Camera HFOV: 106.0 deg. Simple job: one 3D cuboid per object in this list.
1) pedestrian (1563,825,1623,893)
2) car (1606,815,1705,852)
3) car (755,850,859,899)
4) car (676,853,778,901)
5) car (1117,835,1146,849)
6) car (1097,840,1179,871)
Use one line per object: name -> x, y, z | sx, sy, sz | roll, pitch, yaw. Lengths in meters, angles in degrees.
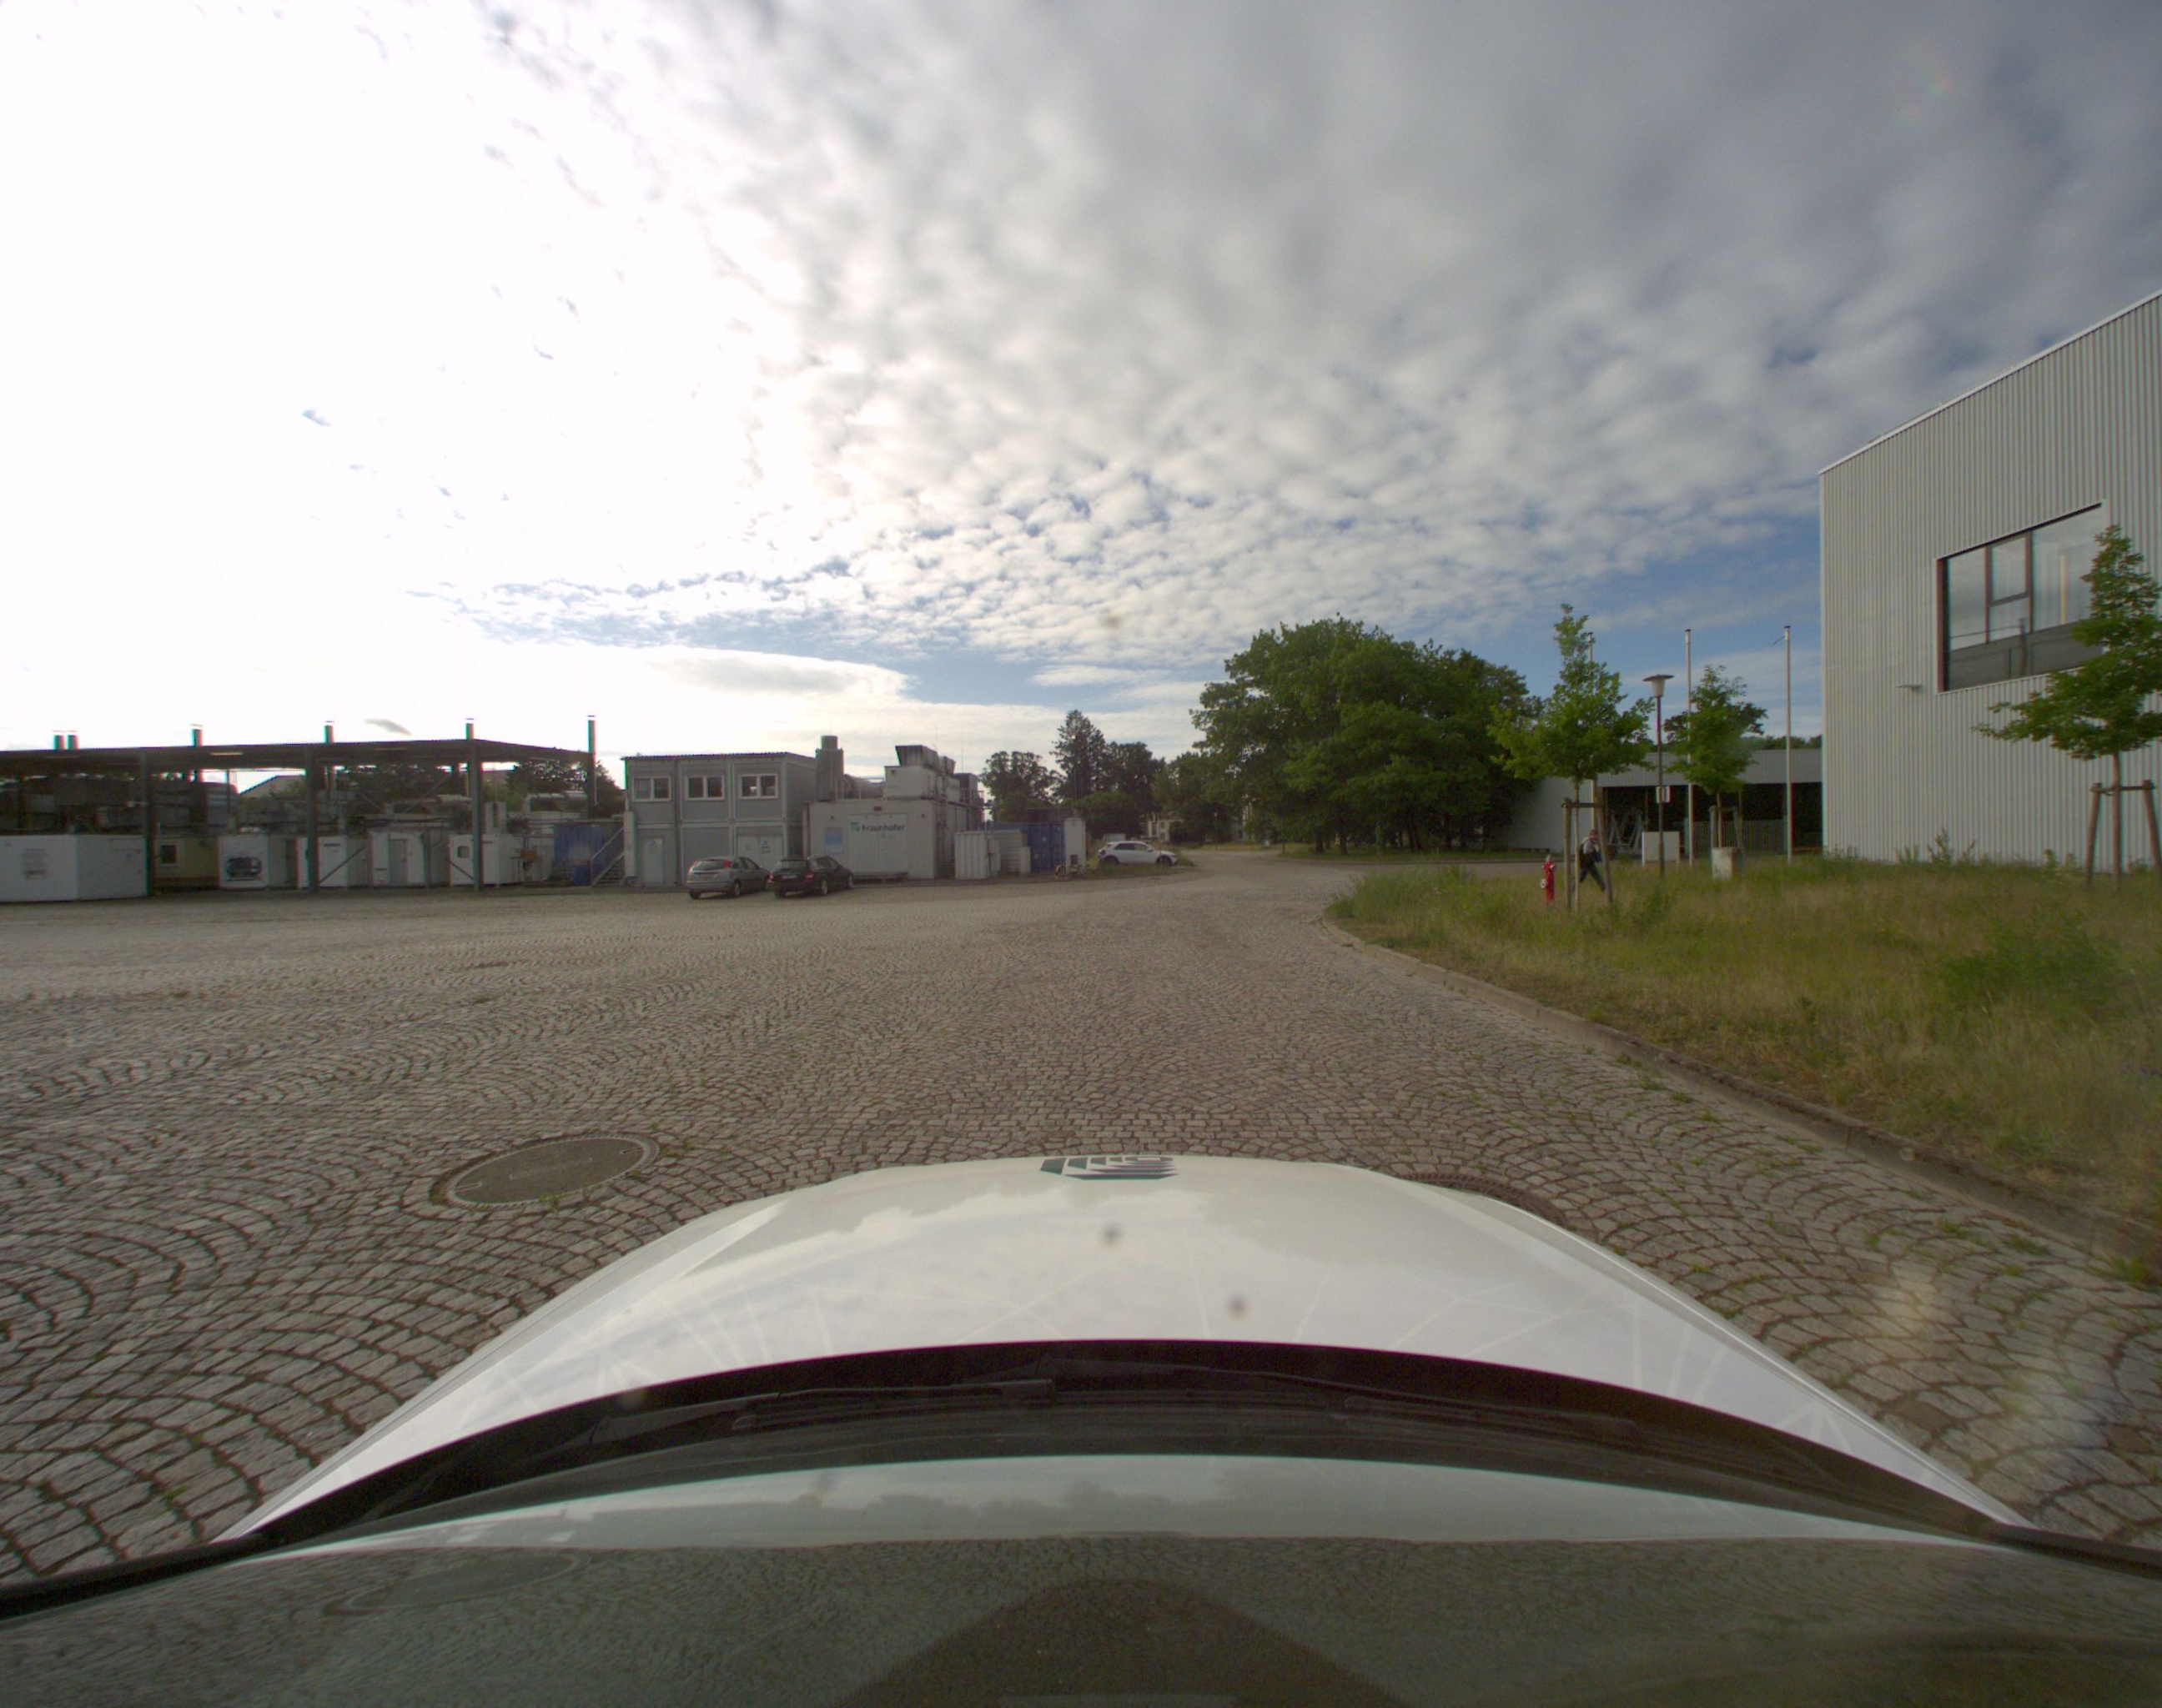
pedestrian -> 12.051, 0.118, 19.209 | 1.065, 1.556, 1.081 | -1, 0, 27
car -> 33.746, -1.158, 48.086 | 2.232, 2.013, 5.340 | -2, 1, 2
car -> -10.005, 0.693, 30.174 | 2.028, 1.453, 4.534 | -1, 2, 3
car -> -13.137, 0.805, 30.494 | 1.899, 1.475, 4.049 | -1, 2, 1
car -> 9.102, -2.187, 148.164 | 5.149, 2.337, 2.002 | -2, 0, 2
car -> 3.292, 0.068, 46.659 | 4.512, 1.599, 2.003 | -2, 1, 5
